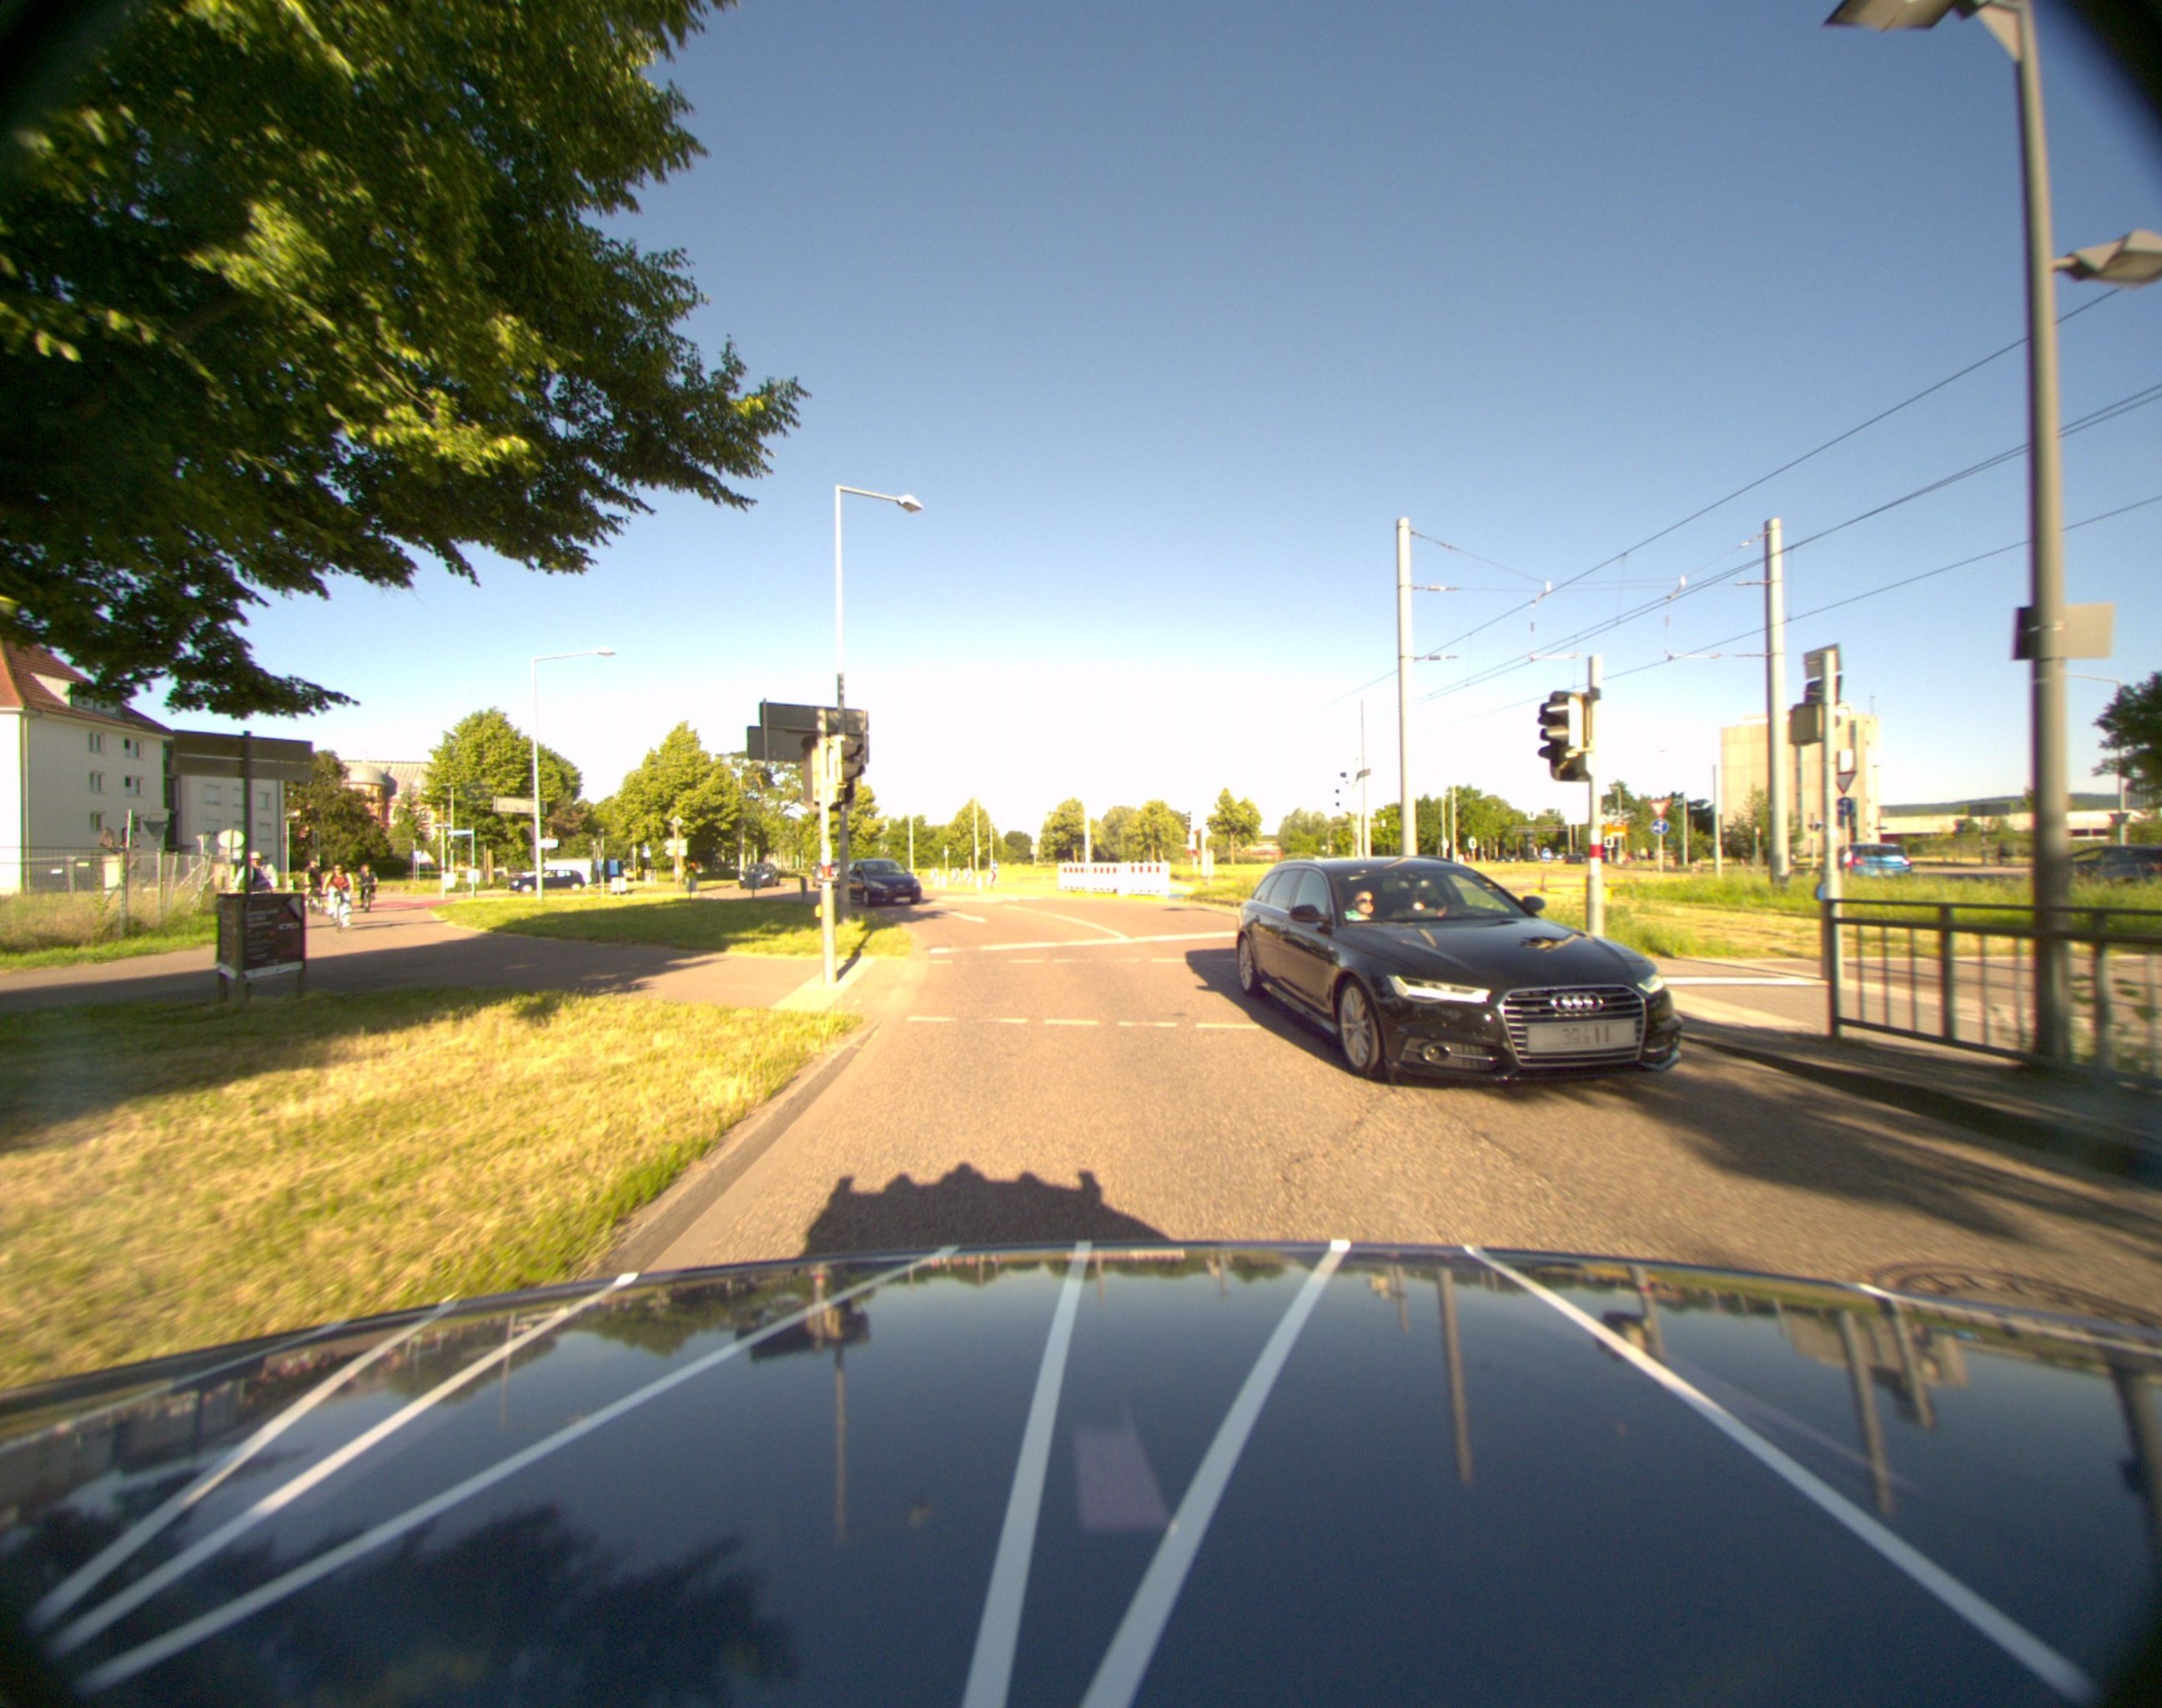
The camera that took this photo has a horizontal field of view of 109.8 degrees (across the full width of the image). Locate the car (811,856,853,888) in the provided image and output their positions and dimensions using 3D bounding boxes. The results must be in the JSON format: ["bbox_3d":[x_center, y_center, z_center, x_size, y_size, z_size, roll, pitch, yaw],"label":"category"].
[{"bbox_3d":[-13.258,0.906,40.311,1.852,1.560,4.520,-1,0,-21],"label":"car"}]

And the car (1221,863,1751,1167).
[{"bbox_3d":[2.603,0.882,6.359,1.789,1.518,4.600,-2,0,-3],"label":"car"}]

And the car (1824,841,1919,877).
[{"bbox_3d":[30.660,0.164,29.597,1.660,1.257,3.627,0,2,31],"label":"car"}]

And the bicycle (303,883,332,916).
[{"bbox_3d":[-24.678,1.458,24.576,0.594,0.955,1.895,-3,2,-44],"label":"bicycle"}]

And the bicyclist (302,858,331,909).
[{"bbox_3d":[-24.662,0.936,24.524,0.594,1.578,0.963,-3,2,-44],"label":"bicyclist"}]

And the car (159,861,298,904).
[{"bbox_3d":[-37.960,1.231,33.959,3.566,1.740,2.023,-1,0,-14],"label":"car"}]

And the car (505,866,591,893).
[{"bbox_3d":[-32.372,1.501,46.241,4.008,1.370,1.752,-3,2,-45],"label":"car"}]

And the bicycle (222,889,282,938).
[{"bbox_3d":[-19.080,1.349,17.520,0.659,1.006,1.815,-1,0,-39],"label":"bicycle"}]

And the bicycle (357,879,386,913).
[{"bbox_3d":[-25.131,1.474,26.930,0.480,1.076,1.639,-3,2,-34],"label":"bicycle"}]

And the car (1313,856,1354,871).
[{"bbox_3d":[27.698,1.008,83.382,4.014,1.420,1.800,-2,2,-17],"label":"car"}]

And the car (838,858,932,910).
[{"bbox_3d":[-6.591,0.936,25.311,1.767,1.506,3.937,-2,2,-34],"label":"car"}]

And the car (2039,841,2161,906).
[{"bbox_3d":[26.155,0.444,18.688,1.660,1.388,3.617,2,3,24],"label":"car"}]

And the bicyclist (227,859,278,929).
[{"bbox_3d":[-19.085,0.899,17.520,0.656,1.544,0.792,-2,1,-40],"label":"bicyclist"}]

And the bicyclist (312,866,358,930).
[{"bbox_3d":[-17.627,1.023,17.974,0.505,1.464,0.832,-1,1,-26],"label":"bicyclist"}]

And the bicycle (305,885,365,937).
[{"bbox_3d":[-17.608,1.319,17.968,0.508,1.145,1.601,0,0,-25],"label":"bicycle"}]

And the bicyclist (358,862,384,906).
[{"bbox_3d":[-25.122,1.053,26.890,0.472,1.477,0.913,-3,2,-35],"label":"bicyclist"}]

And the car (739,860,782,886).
[{"bbox_3d":[-18.890,1.101,44.911,1.851,1.419,3.942,-1,0,-16],"label":"car"}]
